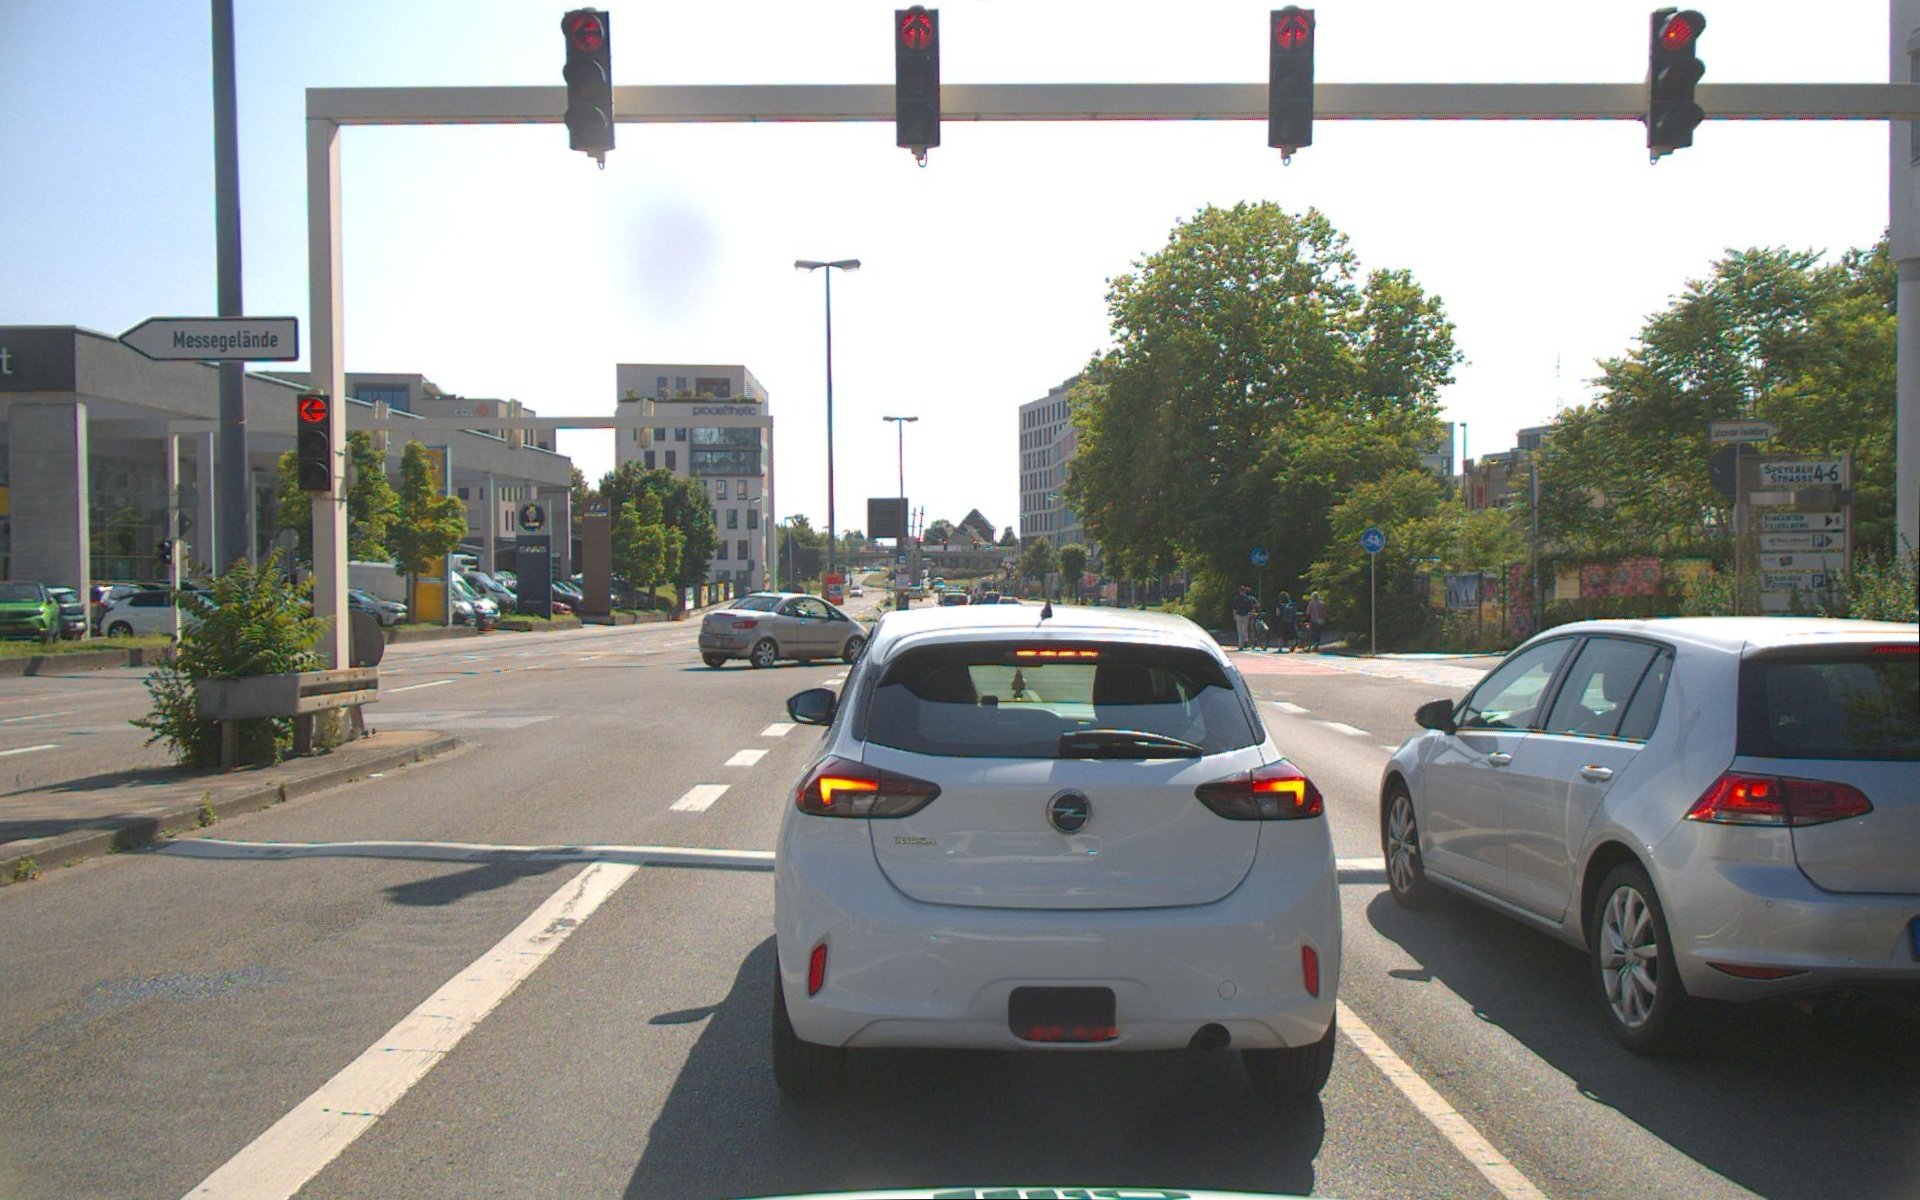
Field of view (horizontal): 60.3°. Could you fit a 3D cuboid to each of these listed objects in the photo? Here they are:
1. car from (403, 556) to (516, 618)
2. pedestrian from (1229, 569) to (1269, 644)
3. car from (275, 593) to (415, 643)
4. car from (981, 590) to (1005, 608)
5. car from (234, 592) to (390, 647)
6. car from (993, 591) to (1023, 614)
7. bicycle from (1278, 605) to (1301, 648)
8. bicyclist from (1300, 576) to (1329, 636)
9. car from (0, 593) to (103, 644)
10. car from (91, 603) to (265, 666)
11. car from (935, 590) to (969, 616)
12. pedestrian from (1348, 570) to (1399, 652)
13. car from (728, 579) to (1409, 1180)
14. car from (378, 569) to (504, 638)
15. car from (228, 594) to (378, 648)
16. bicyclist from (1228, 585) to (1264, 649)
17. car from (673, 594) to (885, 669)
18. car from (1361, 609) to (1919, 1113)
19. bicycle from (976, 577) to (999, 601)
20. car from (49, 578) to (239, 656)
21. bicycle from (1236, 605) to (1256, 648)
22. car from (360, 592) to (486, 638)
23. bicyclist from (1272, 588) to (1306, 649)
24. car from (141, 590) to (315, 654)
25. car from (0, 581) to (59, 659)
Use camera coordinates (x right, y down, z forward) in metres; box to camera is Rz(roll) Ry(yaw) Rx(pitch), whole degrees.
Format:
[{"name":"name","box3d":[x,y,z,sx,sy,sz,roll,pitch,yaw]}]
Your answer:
[{"name":"car","box3d":[-21.984,-0.577,72.719,4.265,2.646,2.001,-1,0,4]},{"name":"pedestrian","box3d":[8.911,0.190,51.024,1.006,2.278,1.038,0,0,-1]},{"name":"car","box3d":[-21.961,0.625,59.189,4.270,1.726,1.999,-1,0,-4]},{"name":"car","box3d":[2.733,-0.066,137.566,1.769,1.410,3.999,1,-1,-1]},{"name":"car","box3d":[-21.018,0.619,53.776,4.270,1.726,1.999,0,0,-3]},{"name":"car","box3d":[3.139,0.179,109.507,1.769,1.410,3.999,1,-1,-1]},{"name":"bicycle","box3d":[9.184,0.742,46.155,0.366,1.167,1.034,1,-1,-3]},{"name":"bicyclist","box3d":[9.984,0.172,46.622,0.639,1.666,0.659,1,-1,-1]},{"name":"car","box3d":[-26.265,0.540,45.536,4.276,1.290,1.996,-2,-1,-9]},{"name":"car","box3d":[-21.671,0.935,45.955,3.912,1.627,1.997,-1,0,-8]},{"name":"car","box3d":[-0.474,0.162,94.207,1.770,1.410,3.998,2,0,-2]},{"name":"pedestrian","box3d":[10.466,0.264,41.882,1.006,2.049,1.038,0,0,-1]},{"name":"car","box3d":[0.249,0.707,6.255,1.743,1.520,3.999,-1,0,-1]},{"name":"car","box3d":[-21.138,0.144,67.419,4.401,2.731,2.130,-1,0,8]},{"name":"car","box3d":[-22.192,0.700,55.979,4.270,1.726,1.999,-1,0,-4]},{"name":"bicyclist","box3d":[8.243,0.485,47.750,0.861,1.803,0.863,0,0,-1]},{"name":"car","box3d":[-3.636,0.594,33.645,1.966,1.354,3.972,0,1,44]},{"name":"car","box3d":[3.124,0.774,6.894,1.771,1.454,3.998,-1,0,-3]},{"name":"bicycle","box3d":[2.559,-1.021,155.497,1.953,2.195,3.999,-1,0,-1]},{"name":"car","box3d":[-20.502,0.404,41.681,3.793,1.870,1.999,-1,0,-4]},{"name":"bicycle","box3d":[8.245,0.757,47.723,0.365,1.238,1.153,1,0,-1]},{"name":"car","box3d":[-21.067,0.561,64.971,4.265,1.726,2.001,-1,0,4]},{"name":"bicyclist","box3d":[9.167,0.508,46.109,0.675,1.672,0.775,0,0,-9]},{"name":"car","box3d":[-21.470,0.620,48.628,4.211,1.796,1.999,-1,0,-4]},{"name":"car","box3d":[-22.561,0.497,38.956,1.887,1.764,3.250,-1,-1,-37]}]
